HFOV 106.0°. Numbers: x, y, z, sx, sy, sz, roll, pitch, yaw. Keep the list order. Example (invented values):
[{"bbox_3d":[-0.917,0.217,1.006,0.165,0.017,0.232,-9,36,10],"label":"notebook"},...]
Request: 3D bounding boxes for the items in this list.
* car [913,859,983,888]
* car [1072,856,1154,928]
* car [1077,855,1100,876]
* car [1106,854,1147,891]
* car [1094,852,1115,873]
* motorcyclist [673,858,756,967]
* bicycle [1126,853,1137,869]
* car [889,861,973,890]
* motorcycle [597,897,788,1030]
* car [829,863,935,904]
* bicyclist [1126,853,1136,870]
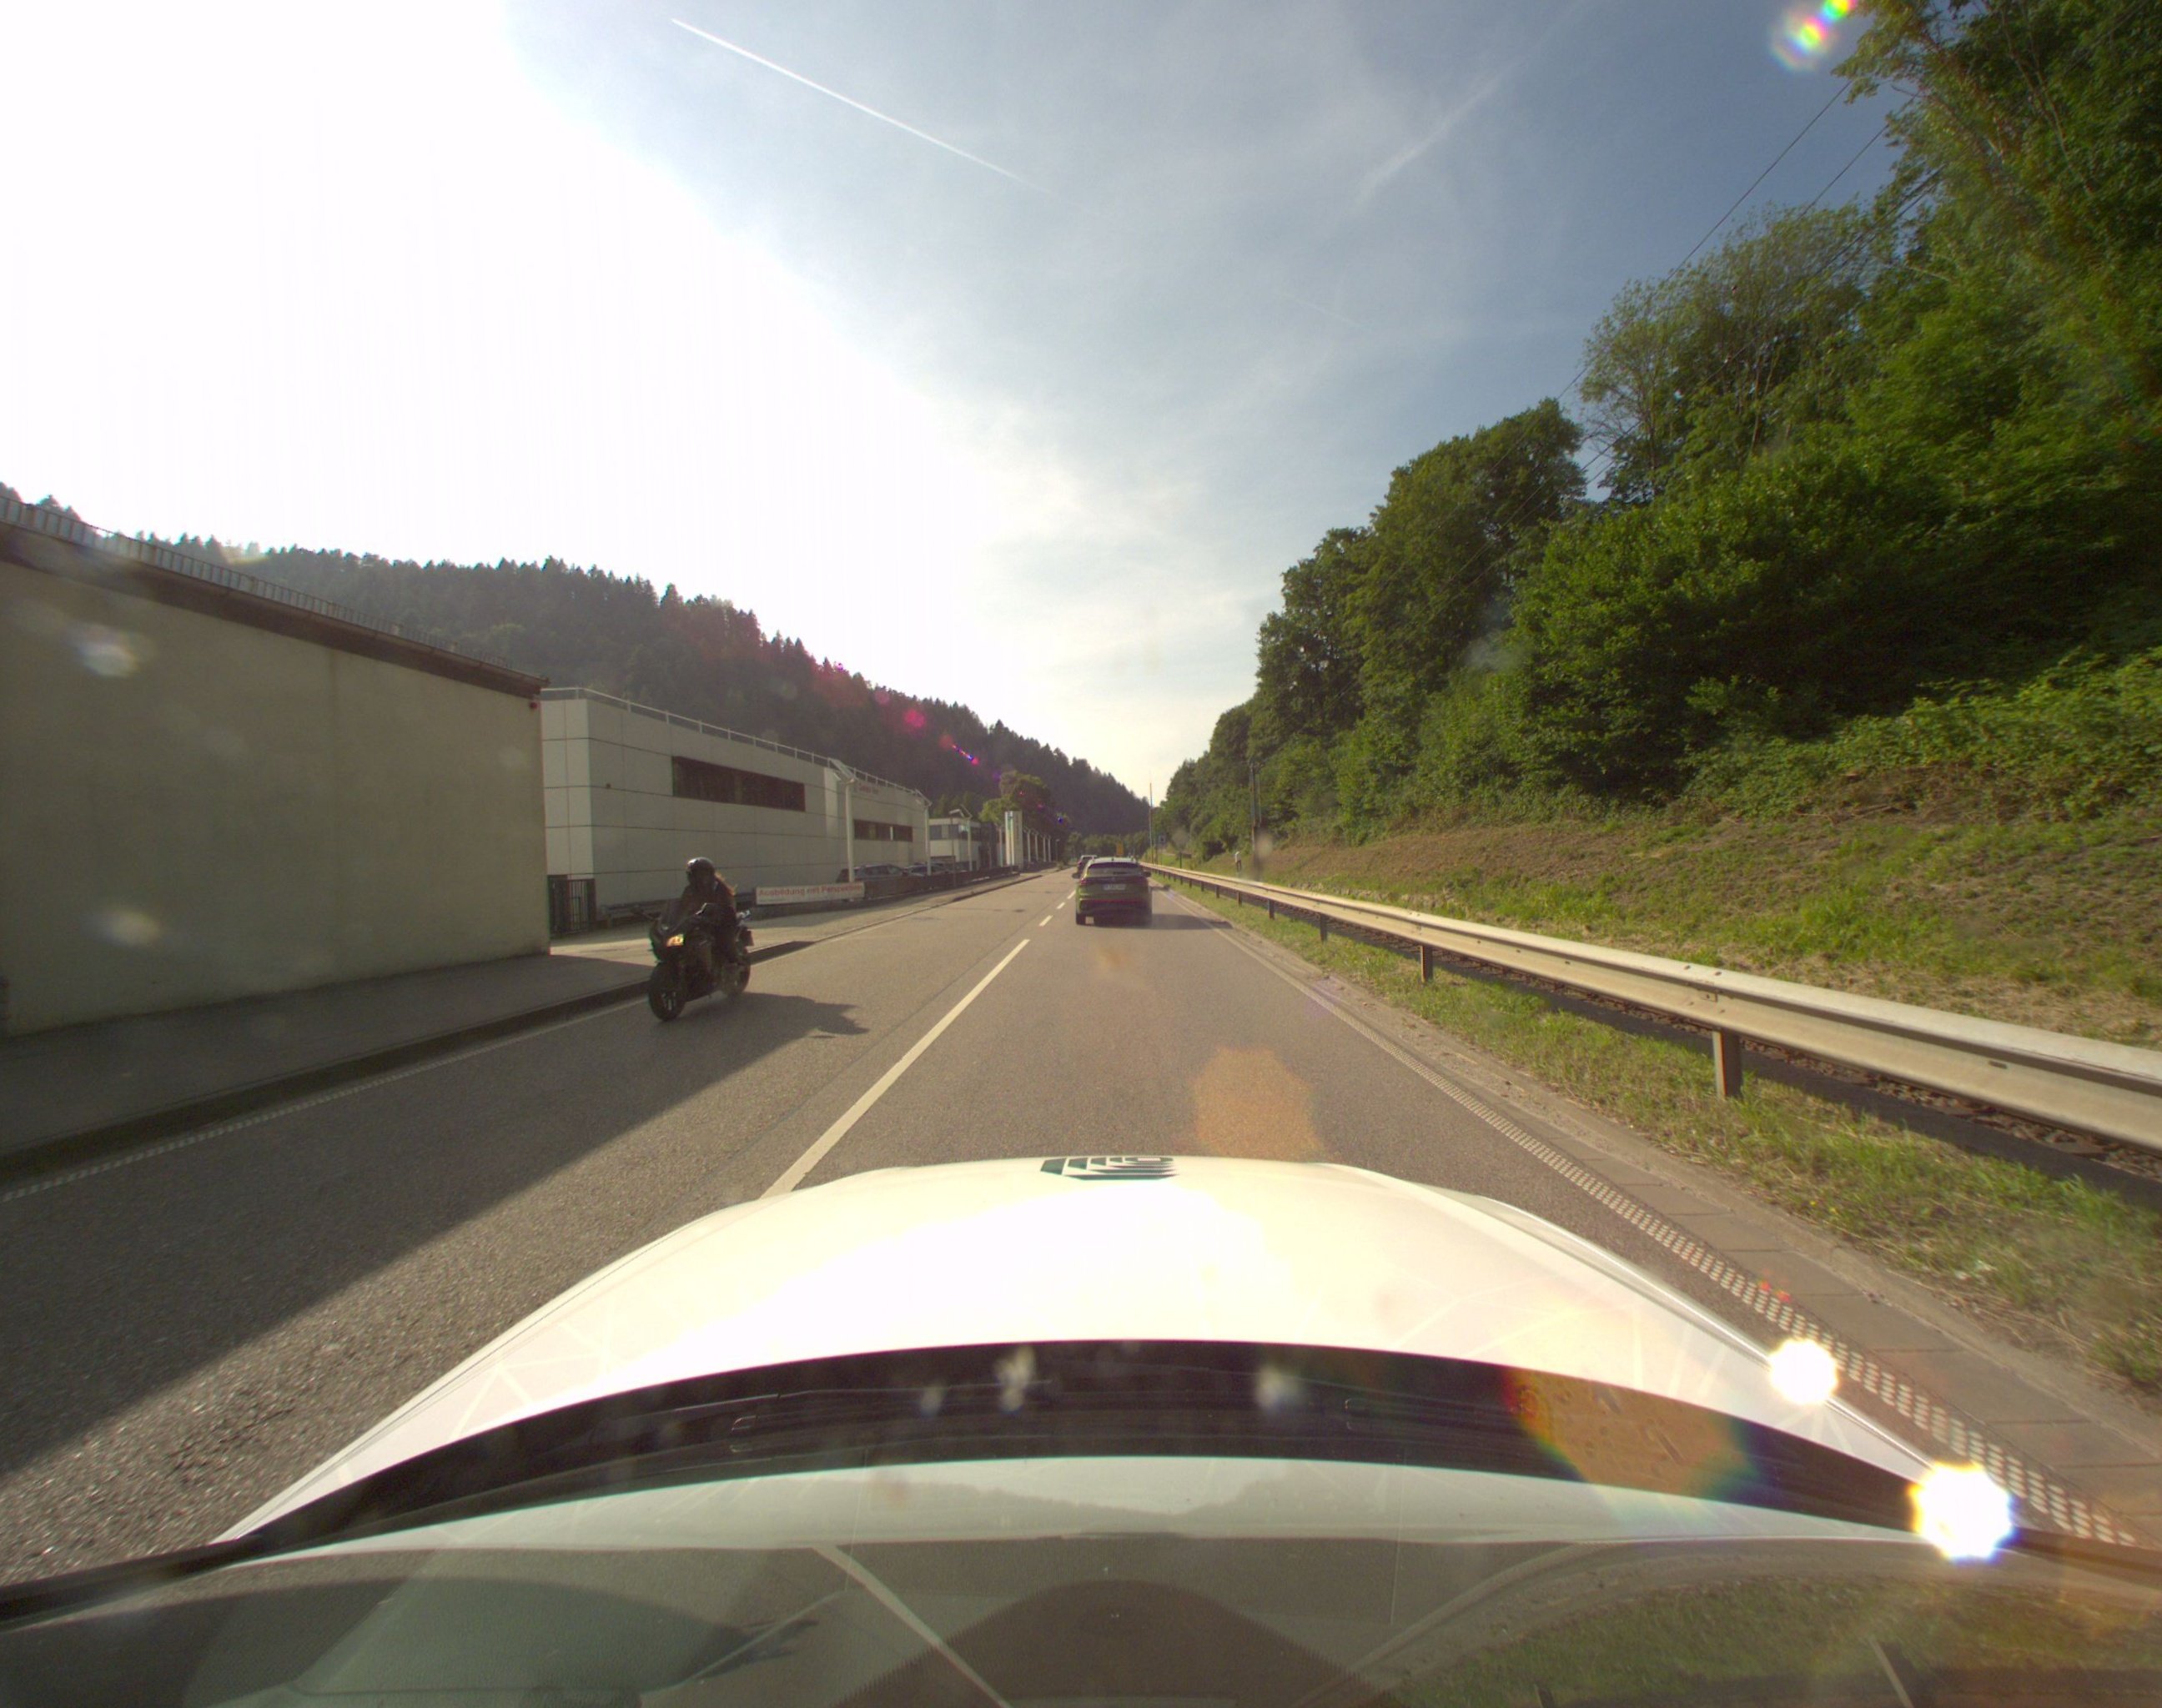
[{"bbox_3d":[-8.355,1.209,51.324,1.759,1.708,4.135,-2,-1,43],"label":"car"},{"bbox_3d":[0.729,0.825,19.442,1.733,1.508,4.001,-1,0,1],"label":"car"},{"bbox_3d":[0.621,0.897,63.750,1.733,1.602,4.001,-1,0,1],"label":"car"},{"bbox_3d":[2.064,0.815,38.048,1.733,1.602,4.001,-1,0,1],"label":"car"},{"bbox_3d":[2.404,0.840,83.454,1.986,2.013,4.002,-2,0,2],"label":"car"},{"bbox_3d":[-3.967,0.617,8.851,0.583,1.124,0.637,-2,-1,1],"label":"motorcyclist"},{"bbox_3d":[4.168,0.562,67.515,0.809,1.250,2.122,-2,0,0],"label":"bicycle"},{"bbox_3d":[-8.673,1.207,47.400,1.865,1.495,4.516,-2,0,43],"label":"car"},{"bbox_3d":[-3.986,1.062,8.651,0.738,1.068,2.493,-2,0,2],"label":"motorcycle"},{"bbox_3d":[-8.717,1.256,35.946,1.865,1.592,4.200,-2,-1,43],"label":"car"},{"bbox_3d":[4.170,0.606,67.618,0.779,1.412,0.675,-2,-1,0],"label":"bicyclist"}]
